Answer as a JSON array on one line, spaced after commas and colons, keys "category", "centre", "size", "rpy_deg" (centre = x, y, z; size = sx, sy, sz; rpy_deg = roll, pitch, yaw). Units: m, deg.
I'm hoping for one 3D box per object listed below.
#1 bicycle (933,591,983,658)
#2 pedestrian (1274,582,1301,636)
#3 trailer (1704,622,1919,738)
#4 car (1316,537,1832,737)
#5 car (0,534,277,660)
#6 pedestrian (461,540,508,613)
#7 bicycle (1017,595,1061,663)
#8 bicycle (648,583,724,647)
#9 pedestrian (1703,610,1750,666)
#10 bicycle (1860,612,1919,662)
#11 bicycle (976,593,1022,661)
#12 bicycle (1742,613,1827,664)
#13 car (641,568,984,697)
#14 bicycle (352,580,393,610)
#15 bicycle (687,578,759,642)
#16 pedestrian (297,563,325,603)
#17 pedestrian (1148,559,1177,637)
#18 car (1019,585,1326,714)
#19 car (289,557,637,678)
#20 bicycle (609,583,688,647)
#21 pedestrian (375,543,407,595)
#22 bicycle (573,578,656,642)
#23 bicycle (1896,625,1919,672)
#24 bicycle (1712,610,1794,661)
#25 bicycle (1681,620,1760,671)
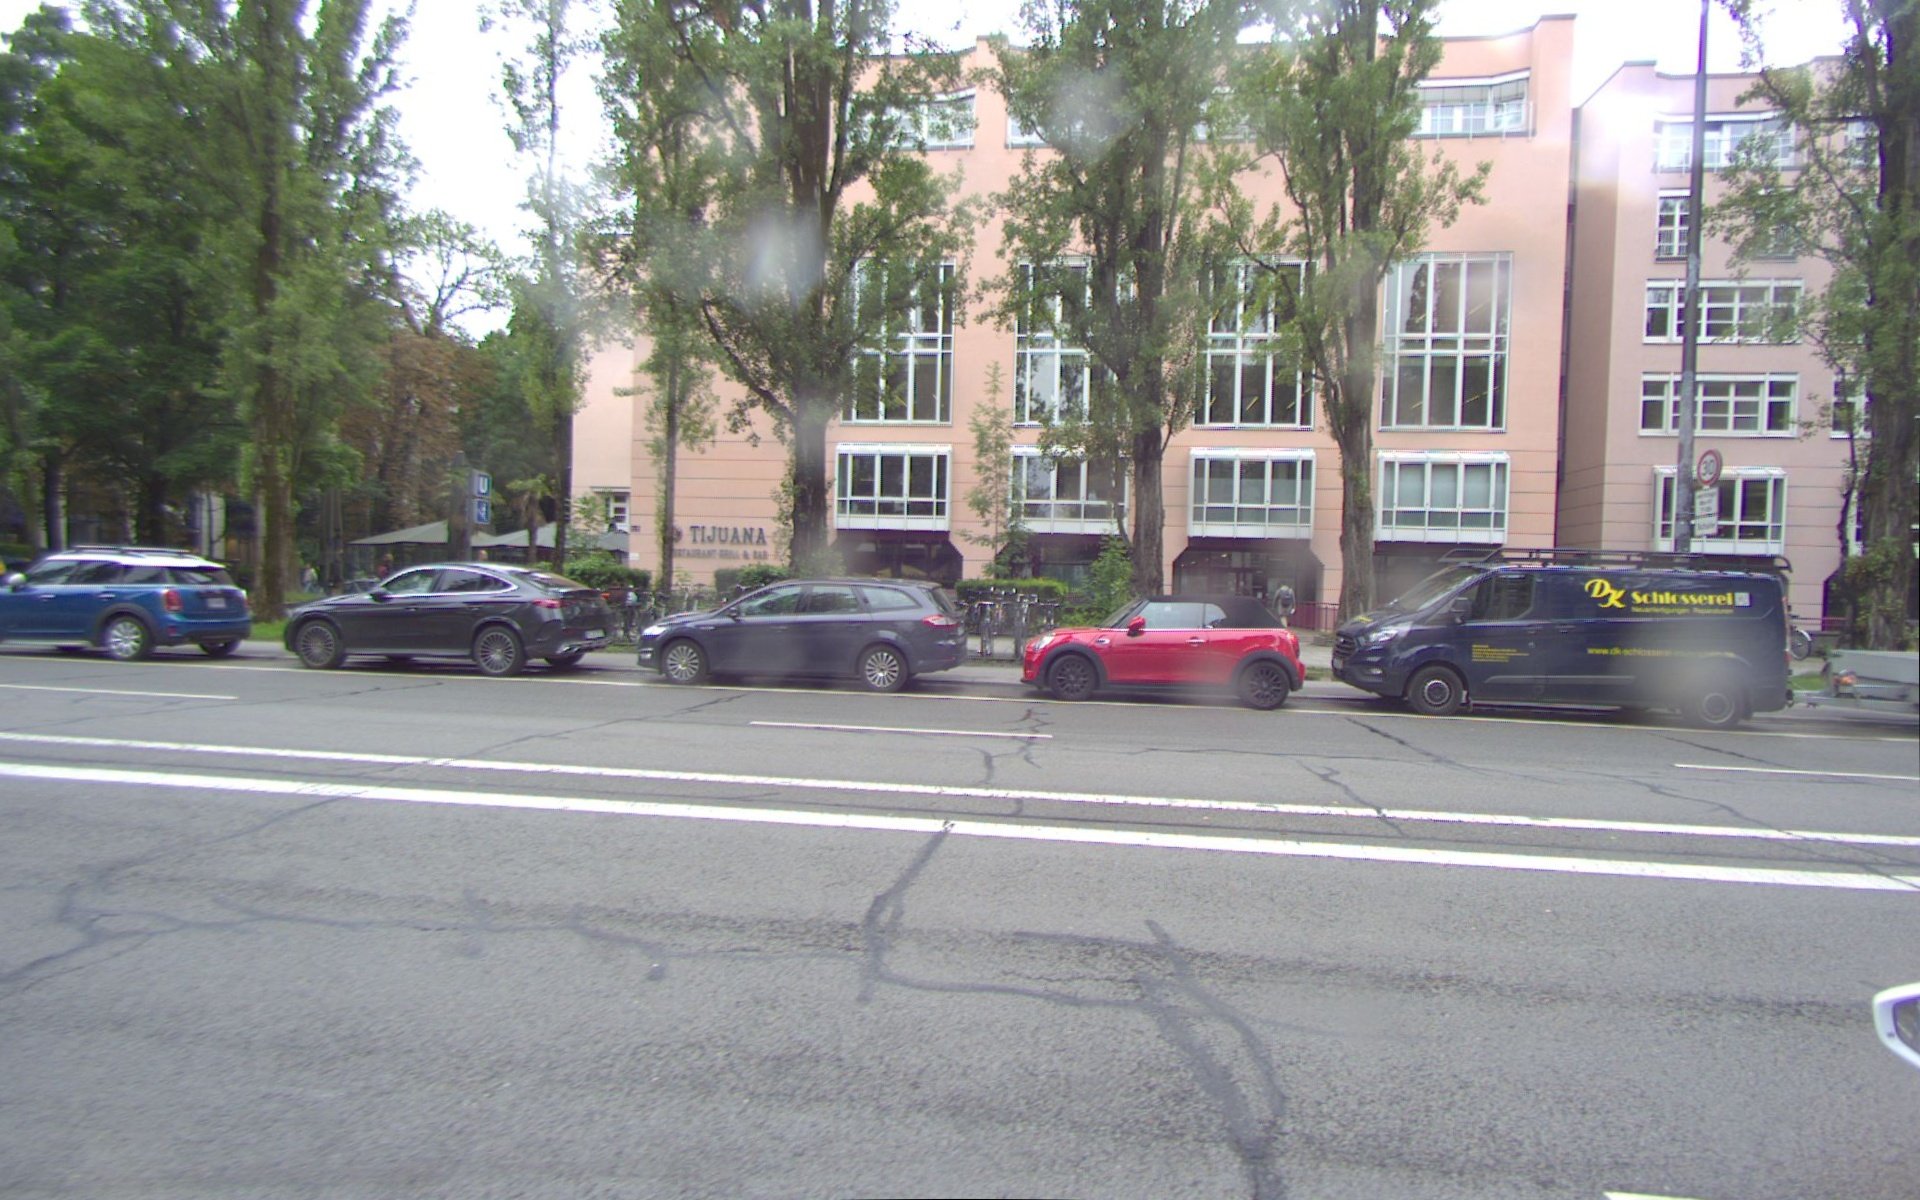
[{"category": "bicycle", "centre": [-0.017, 0.426, 18.480], "size": [0.662, 1.139, 1.742], "rpy_deg": [2, 1, 7]}, {"category": "pedestrian", "centre": [10.914, 0.285, 33.475], "size": [0.695, 1.736, 0.732], "rpy_deg": [2, 2, 10]}, {"category": "trailer", "centre": [13.385, 1.063, 12.702], "size": [5.916, 1.215, 2.406], "rpy_deg": [2, 1, 8]}, {"category": "car", "centre": [7.790, 0.406, 13.309], "size": [5.385, 2.227, 2.024], "rpy_deg": [2, 2, 7]}, {"category": "car", "centre": [-13.296, -0.072, 15.759], "size": [3.996, 1.755, 1.794], "rpy_deg": [2, 0, 5]}, {"category": "pedestrian", "centre": [-11.610, -0.581, 24.540], "size": [0.717, 1.736, 0.709], "rpy_deg": [2, 2, 8]}, {"category": "bicycle", "centre": [1.456, 0.501, 18.313], "size": [0.662, 1.139, 1.730], "rpy_deg": [2, 1, 7]}, {"category": "bicycle", "centre": [-5.218, 0.254, 19.229], "size": [0.662, 1.139, 1.990], "rpy_deg": [2, 1, 7]}, {"category": "pedestrian", "centre": [17.258, 0.845, 22.625], "size": [0.727, 1.203, 0.700], "rpy_deg": [1, 2, -44]}, {"category": "bicycle", "centre": [23.362, 0.905, 24.739], "size": [0.662, 1.139, 2.108], "rpy_deg": [2, 1, 7]}, {"category": "bicycle", "centre": [0.733, 0.471, 18.387], "size": [0.662, 1.139, 1.742], "rpy_deg": [2, 1, 7]}, {"category": "bicycle", "centre": [20.739, 0.948, 25.325], "size": [0.662, 1.139, 1.990], "rpy_deg": [2, 1, 7]}, {"category": "car", "centre": [-2.021, 0.411, 14.469], "size": [4.530, 1.549, 1.794], "rpy_deg": [2, 2, 7]}, {"category": "bicycle", "centre": [-16.115, -0.135, 27.564], "size": [0.318, 0.809, 1.029], "rpy_deg": [3, 1, 15]}, {"category": "bicycle", "centre": [-4.480, 0.164, 19.128], "size": [0.662, 1.139, 1.990], "rpy_deg": [2, 1, 7]}, {"category": "pedestrian", "centre": [-29.245, -0.776, 45.269], "size": [0.695, 1.736, 0.732], "rpy_deg": [2, 2, 4]}, {"category": "pedestrian", "centre": [4.463, -0.050, 22.175], "size": [0.548, 1.686, 0.621], "rpy_deg": [2, 2, 11]}, {"category": "car", "centre": [2.811, 0.597, 13.692], "size": [3.794, 1.468, 1.679], "rpy_deg": [2, 2, 10]}, {"category": "car", "centre": [-7.396, 0.216, 15.167], "size": [4.423, 1.549, 1.794], "rpy_deg": [2, 2, 7]}, {"category": "bicycle", "centre": [-5.965, 0.260, 19.338], "size": [0.662, 1.139, 1.990], "rpy_deg": [2, 1, 7]}, {"category": "pedestrian", "centre": [-19.523, -1.048, 34.503], "size": [0.880, 1.736, 0.732], "rpy_deg": [1, 2, -27]}, {"category": "bicycle", "centre": [-6.640, 0.163, 19.414], "size": [0.662, 1.139, 1.990], "rpy_deg": [2, 1, 7]}, {"category": "bicycle", "centre": [24.189, 1.248, 24.675], "size": [0.662, 1.139, 1.990], "rpy_deg": [2, 1, 7]}, {"category": "bicycle", "centre": [19.998, 0.873, 25.387], "size": [0.662, 1.139, 1.990], "rpy_deg": [2, 1, 7]}, {"category": "bicycle", "centre": [19.285, 1.127, 25.516], "size": [0.662, 1.139, 1.990], "rpy_deg": [2, 1, 7]}]
